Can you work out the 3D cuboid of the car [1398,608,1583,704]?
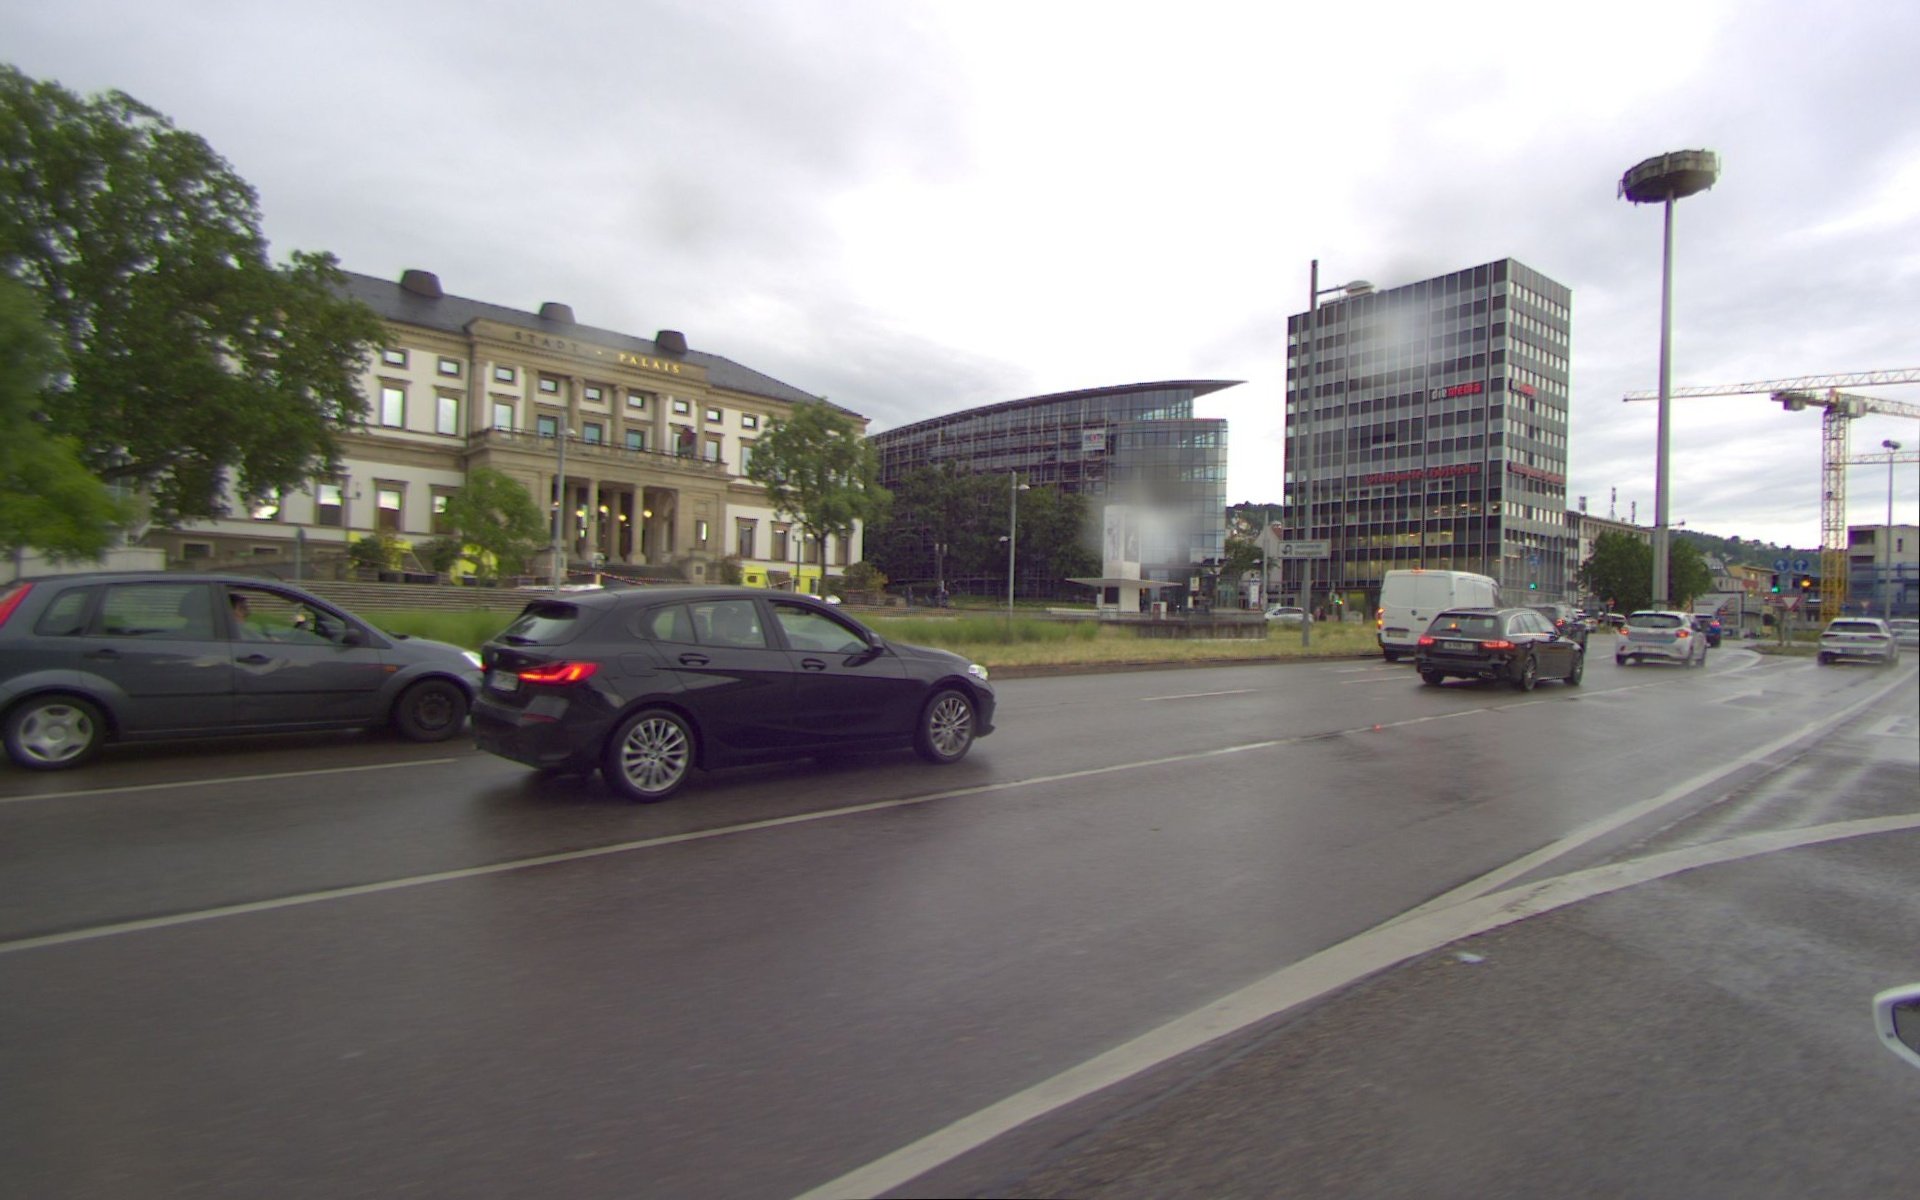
[{"bbox_3d":[9.696,0.954,18.291,3.371,1.514,1.815,1,1,-40],"label":"car"}]

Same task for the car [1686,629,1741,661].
[{"bbox_3d":[35.439,2.101,47.213,3.011,1.387,1.480,3,-1,-42],"label":"car"}]

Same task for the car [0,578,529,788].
[{"bbox_3d":[-5.932,0.610,8.529,3.874,1.434,1.527,3,0,-43],"label":"car"}]

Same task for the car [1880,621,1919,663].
[{"bbox_3d":[44.655,1.980,47.488,1.648,1.765,3.269,2,2,42],"label":"car"}]

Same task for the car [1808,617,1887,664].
[{"bbox_3d":[27.743,1.267,31.384,2.391,1.377,1.433,3,-1,-39],"label":"car"}]

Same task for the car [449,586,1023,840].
[{"bbox_3d":[-1.568,0.675,8.034,4.192,1.491,1.737,1,1,-43],"label":"car"}]

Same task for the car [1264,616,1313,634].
[{"bbox_3d":[19.877,1.482,60.773,2.589,0.953,1.043,3,0,-8],"label":"car"}]

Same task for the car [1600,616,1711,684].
[{"bbox_3d":[19.112,1.369,27.567,3.435,1.674,1.862,3,-1,-44],"label":"car"}]

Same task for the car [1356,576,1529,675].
[{"bbox_3d":[12.726,0.677,26.354,4.967,2.344,2.272,3,-1,-41],"label":"car"}]

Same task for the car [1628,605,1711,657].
[{"bbox_3d":[25.781,1.151,36.463,3.469,1.750,1.700,3,-1,-42],"label":"car"}]

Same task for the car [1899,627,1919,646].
[{"bbox_3d":[71.763,2.757,75.317,3.045,1.383,1.699,3,-1,-42],"label":"car"}]

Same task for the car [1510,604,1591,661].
[{"bbox_3d":[19.319,1.070,32.840,3.120,1.729,1.450,3,-1,-44],"label":"car"}]
